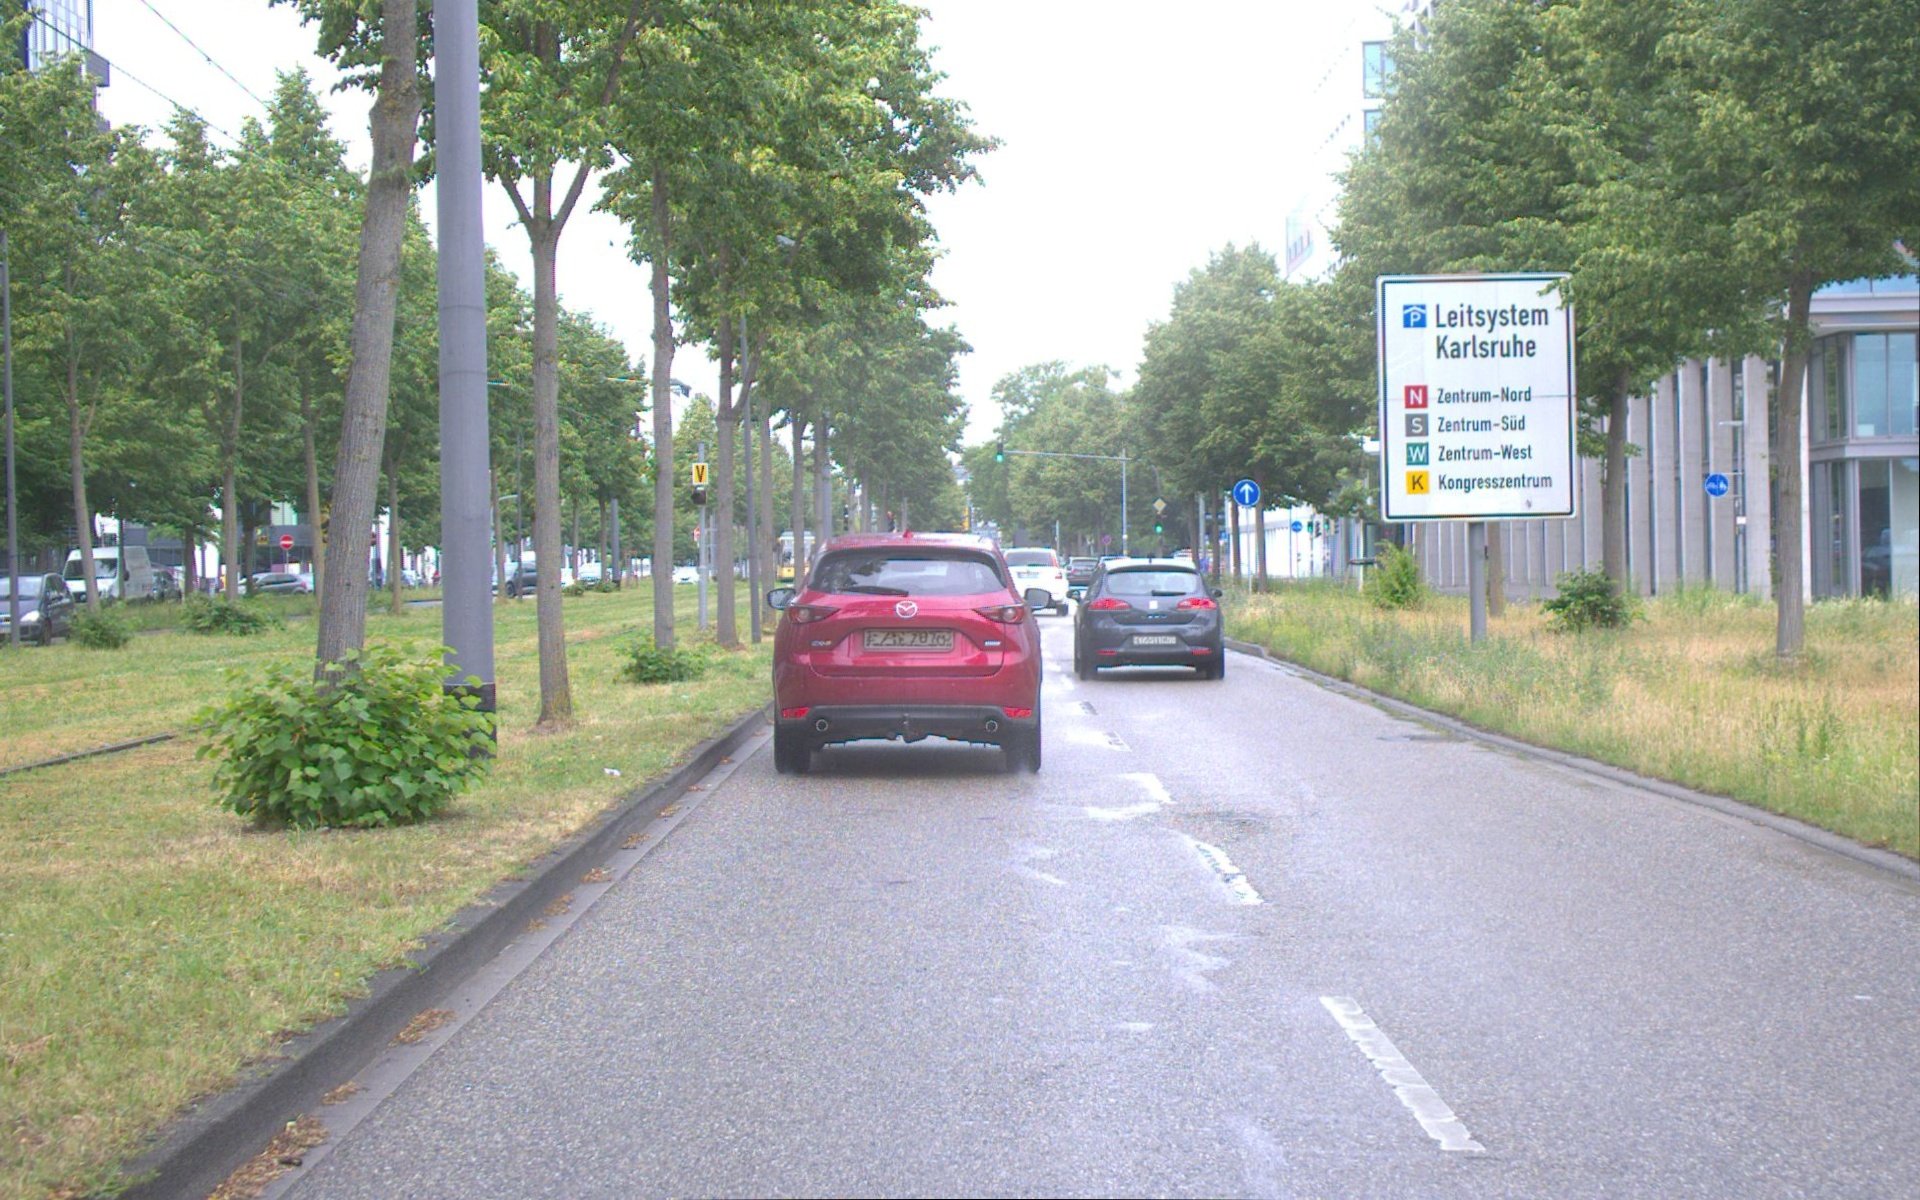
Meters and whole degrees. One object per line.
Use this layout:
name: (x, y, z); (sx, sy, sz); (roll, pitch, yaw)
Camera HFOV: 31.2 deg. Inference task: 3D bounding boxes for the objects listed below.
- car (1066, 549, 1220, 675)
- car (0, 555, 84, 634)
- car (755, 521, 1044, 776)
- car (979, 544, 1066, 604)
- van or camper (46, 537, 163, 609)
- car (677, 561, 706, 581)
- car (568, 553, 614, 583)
car: (2.285, 0.113, 42.162); (1.744, 1.460, 3.781); (0, 1, 5)
car: (-20.442, -0.144, 74.369); (1.993, 1.651, 3.699); (0, 1, 0)
car: (-0.420, 0.290, 24.725); (1.898, 1.671, 4.000); (0, 1, -1)
car: (1.534, -0.673, 86.082); (1.967, 1.432, 4.553); (1, 1, -1)
van or camper: (-28.673, -0.931, 115.391); (2.433, 2.307, 5.850); (-1, 1, 0)
car: (-19.055, -2.055, 244.377); (1.710, 1.399, 4.000); (-1, 1, 0)
car: (-19.555, -1.722, 182.290); (1.863, 1.519, 4.479); (-1, 1, 0)
